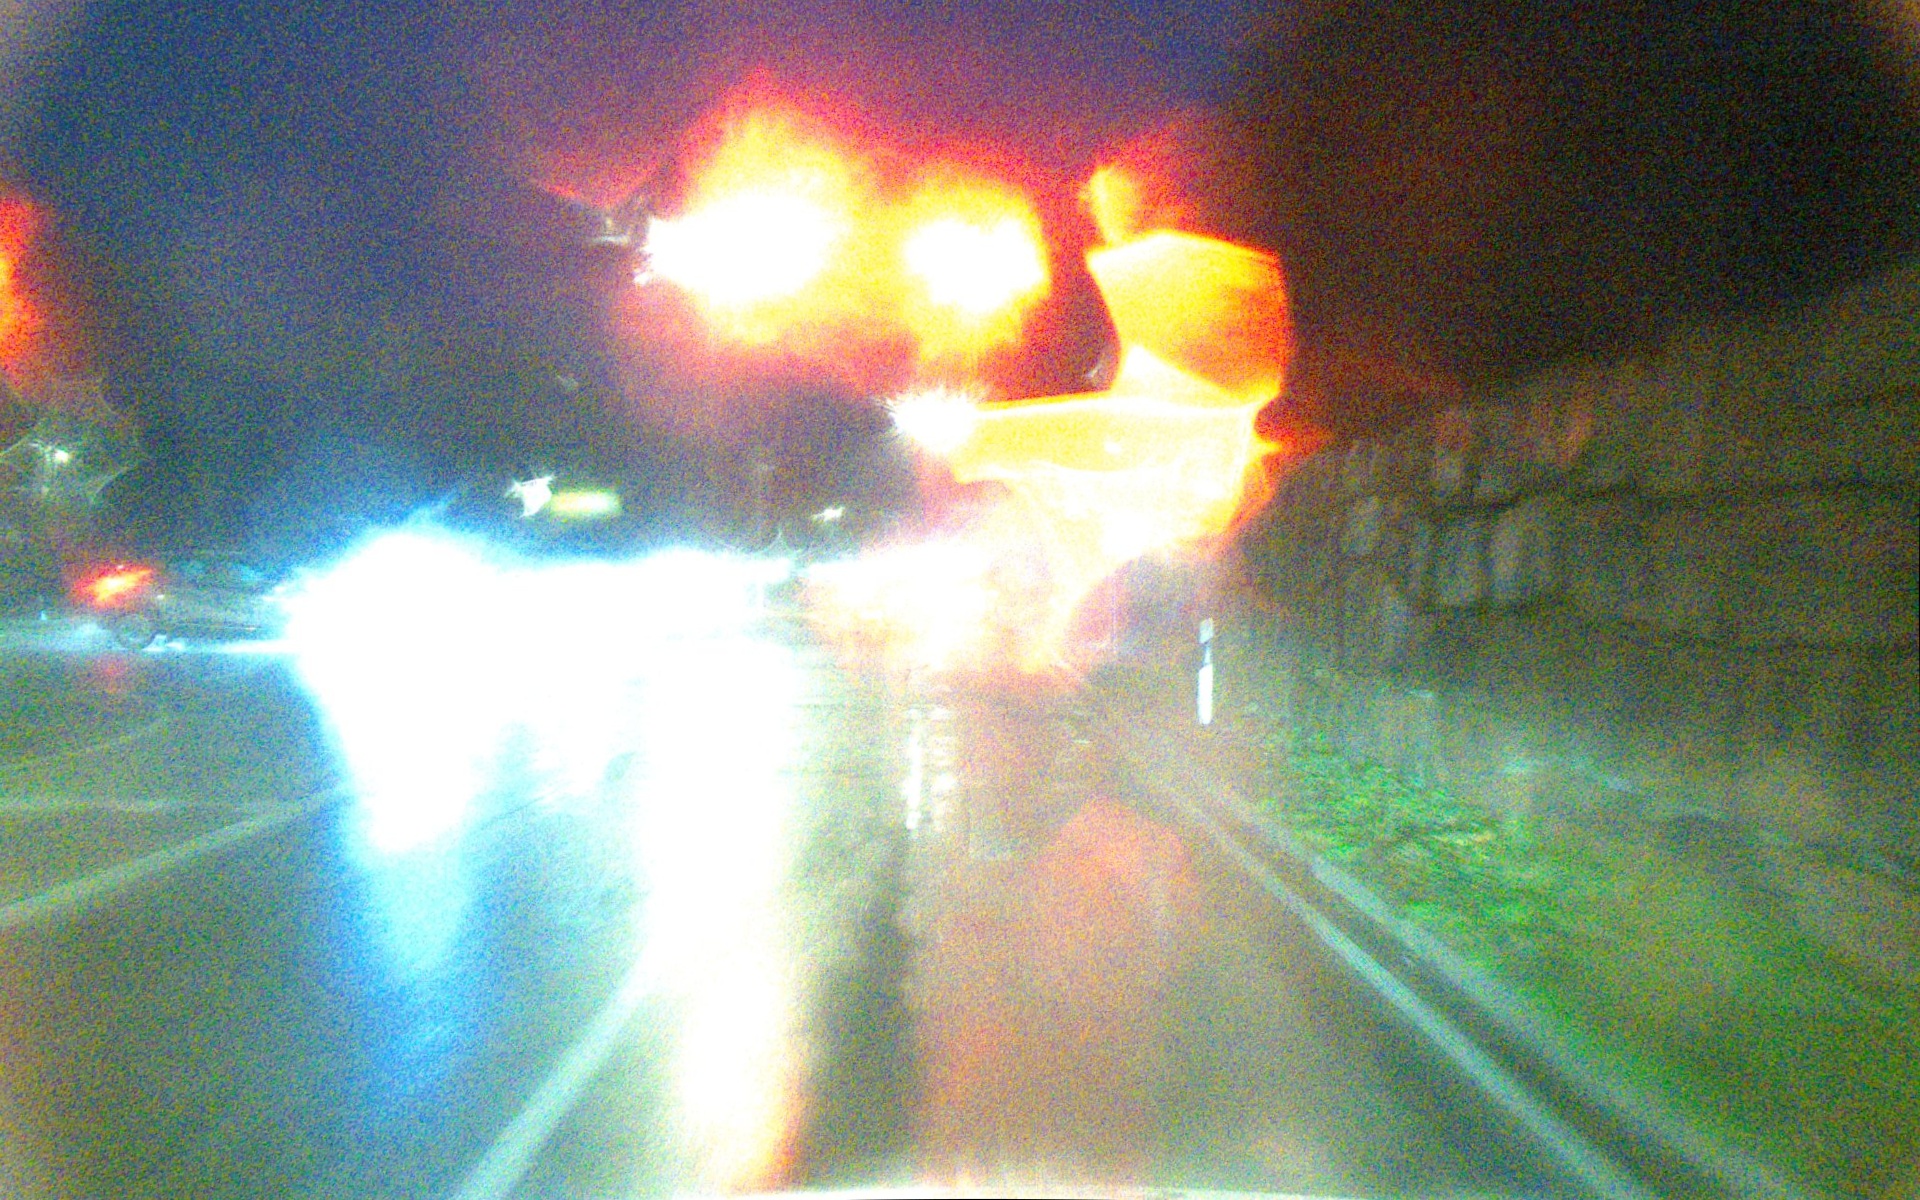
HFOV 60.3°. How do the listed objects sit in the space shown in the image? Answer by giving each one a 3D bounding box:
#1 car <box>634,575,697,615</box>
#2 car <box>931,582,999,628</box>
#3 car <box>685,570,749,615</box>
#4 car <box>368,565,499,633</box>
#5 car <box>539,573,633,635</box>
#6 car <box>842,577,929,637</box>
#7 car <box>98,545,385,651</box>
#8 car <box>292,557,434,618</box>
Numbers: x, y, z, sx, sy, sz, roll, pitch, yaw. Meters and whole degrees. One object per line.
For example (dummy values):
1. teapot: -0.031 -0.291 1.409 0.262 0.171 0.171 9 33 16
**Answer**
1. car: -11.829 -0.182 66.671 1.953 1.557 3.998 1 0 -2
2. car: 0.156 0.173 52.457 2.063 1.363 4.294 1 0 0
3. car: -8.844 -0.254 60.482 1.552 1.552 3.654 1 0 4
4. car: -13.387 -0.054 42.345 1.755 1.599 4.914 1 1 0
5. car: -10.246 0.077 45.559 1.665 1.599 4.710 1 1 -2
6. car: -1.873 0.187 42.835 2.060 1.464 4.000 1 0 0
7. car: -11.816 -0.021 27.499 4.018 1.639 1.994 1 0 -13
8. car: -18.955 -0.421 52.574 3.956 1.863 1.700 0 1 -37
